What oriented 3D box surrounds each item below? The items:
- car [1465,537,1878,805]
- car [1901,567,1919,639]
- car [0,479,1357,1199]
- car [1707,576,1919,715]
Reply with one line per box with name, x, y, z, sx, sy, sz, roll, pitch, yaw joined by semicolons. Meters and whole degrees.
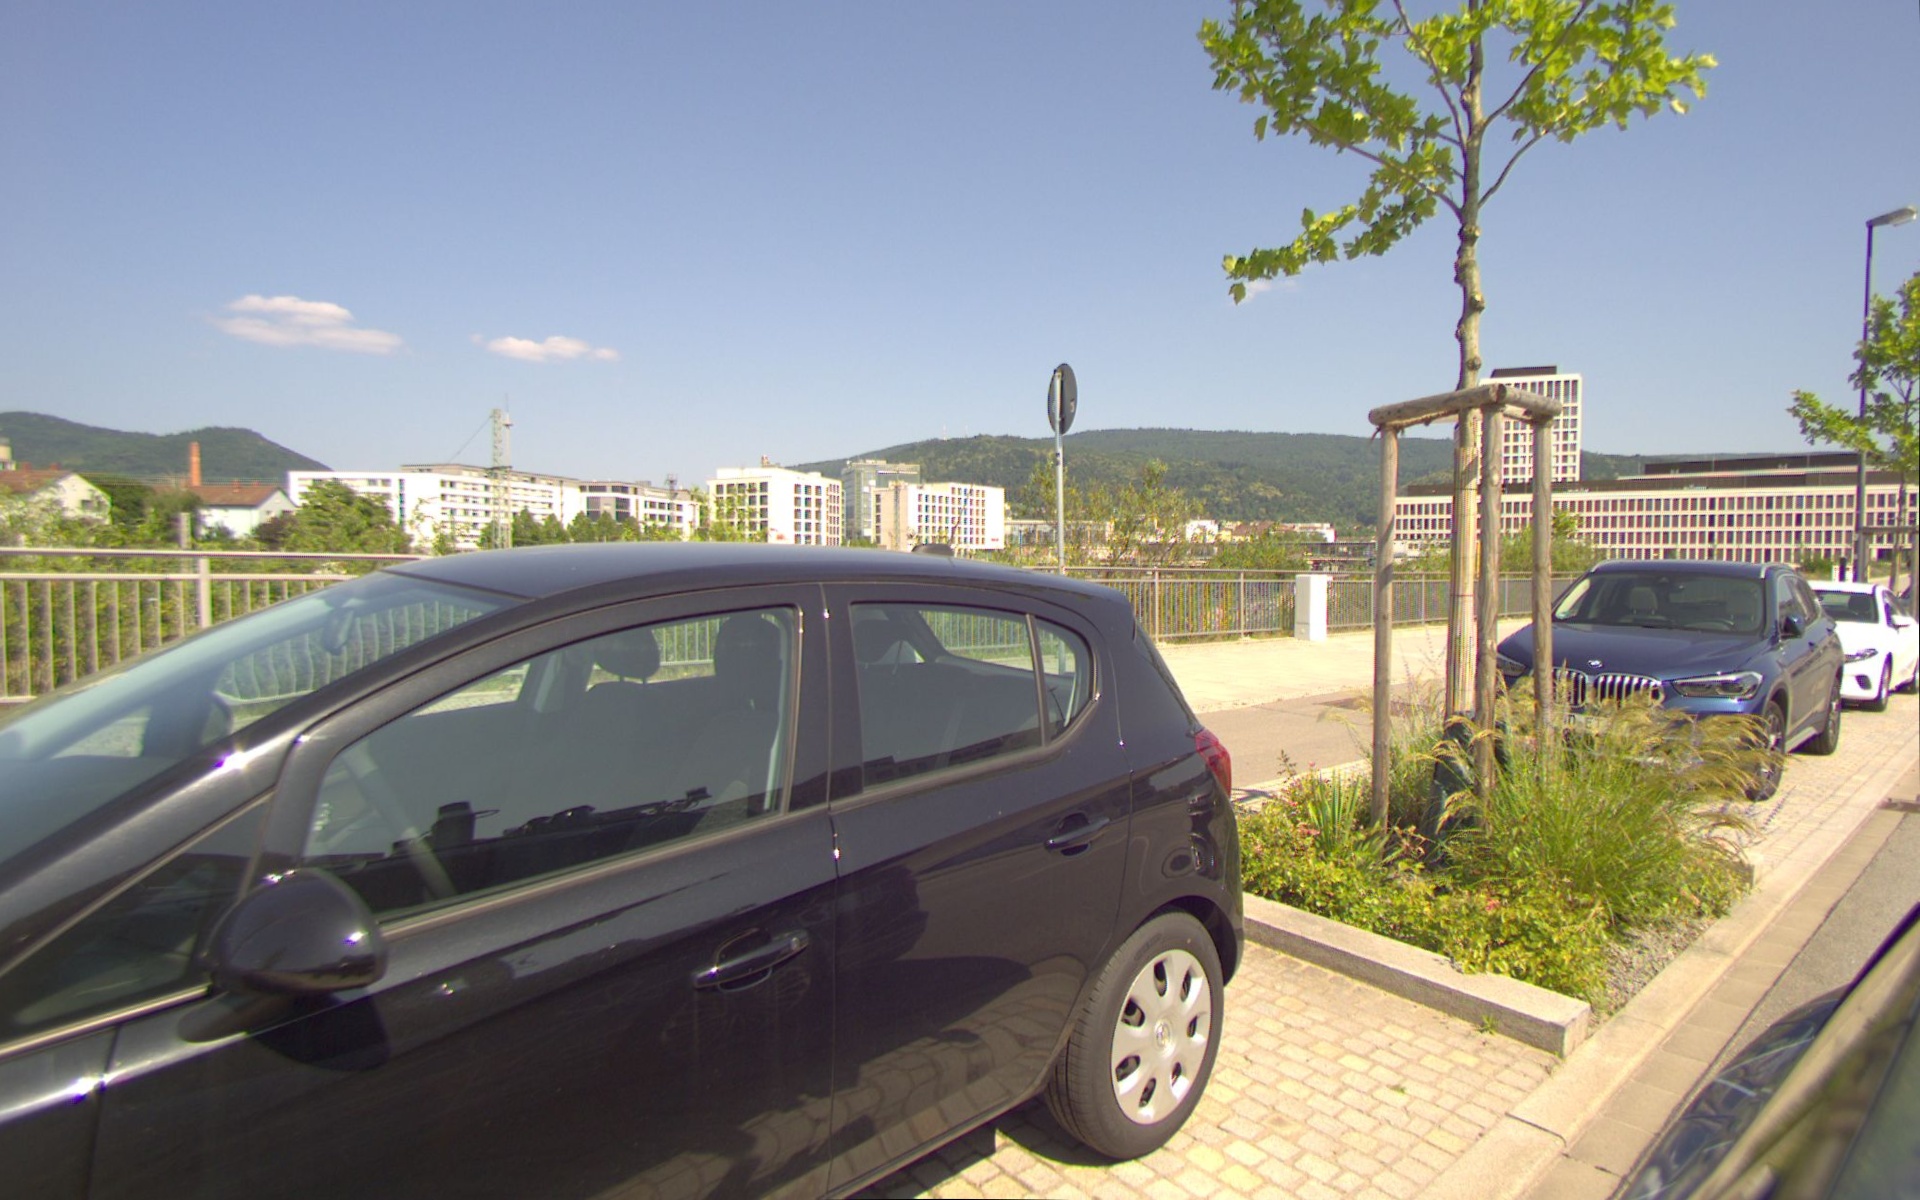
car;5.897;0.388;8.189;4.164;1.627;1.768;-1;1;-41
car;22.613;0.039;22.787;3.930;1.558;1.663;-1;1;-41
car;-0.908;0.547;2.216;3.931;1.444;1.664;-1;3;-41
car;10.926;0.448;12.694;3.930;1.473;1.663;-1;1;-41
